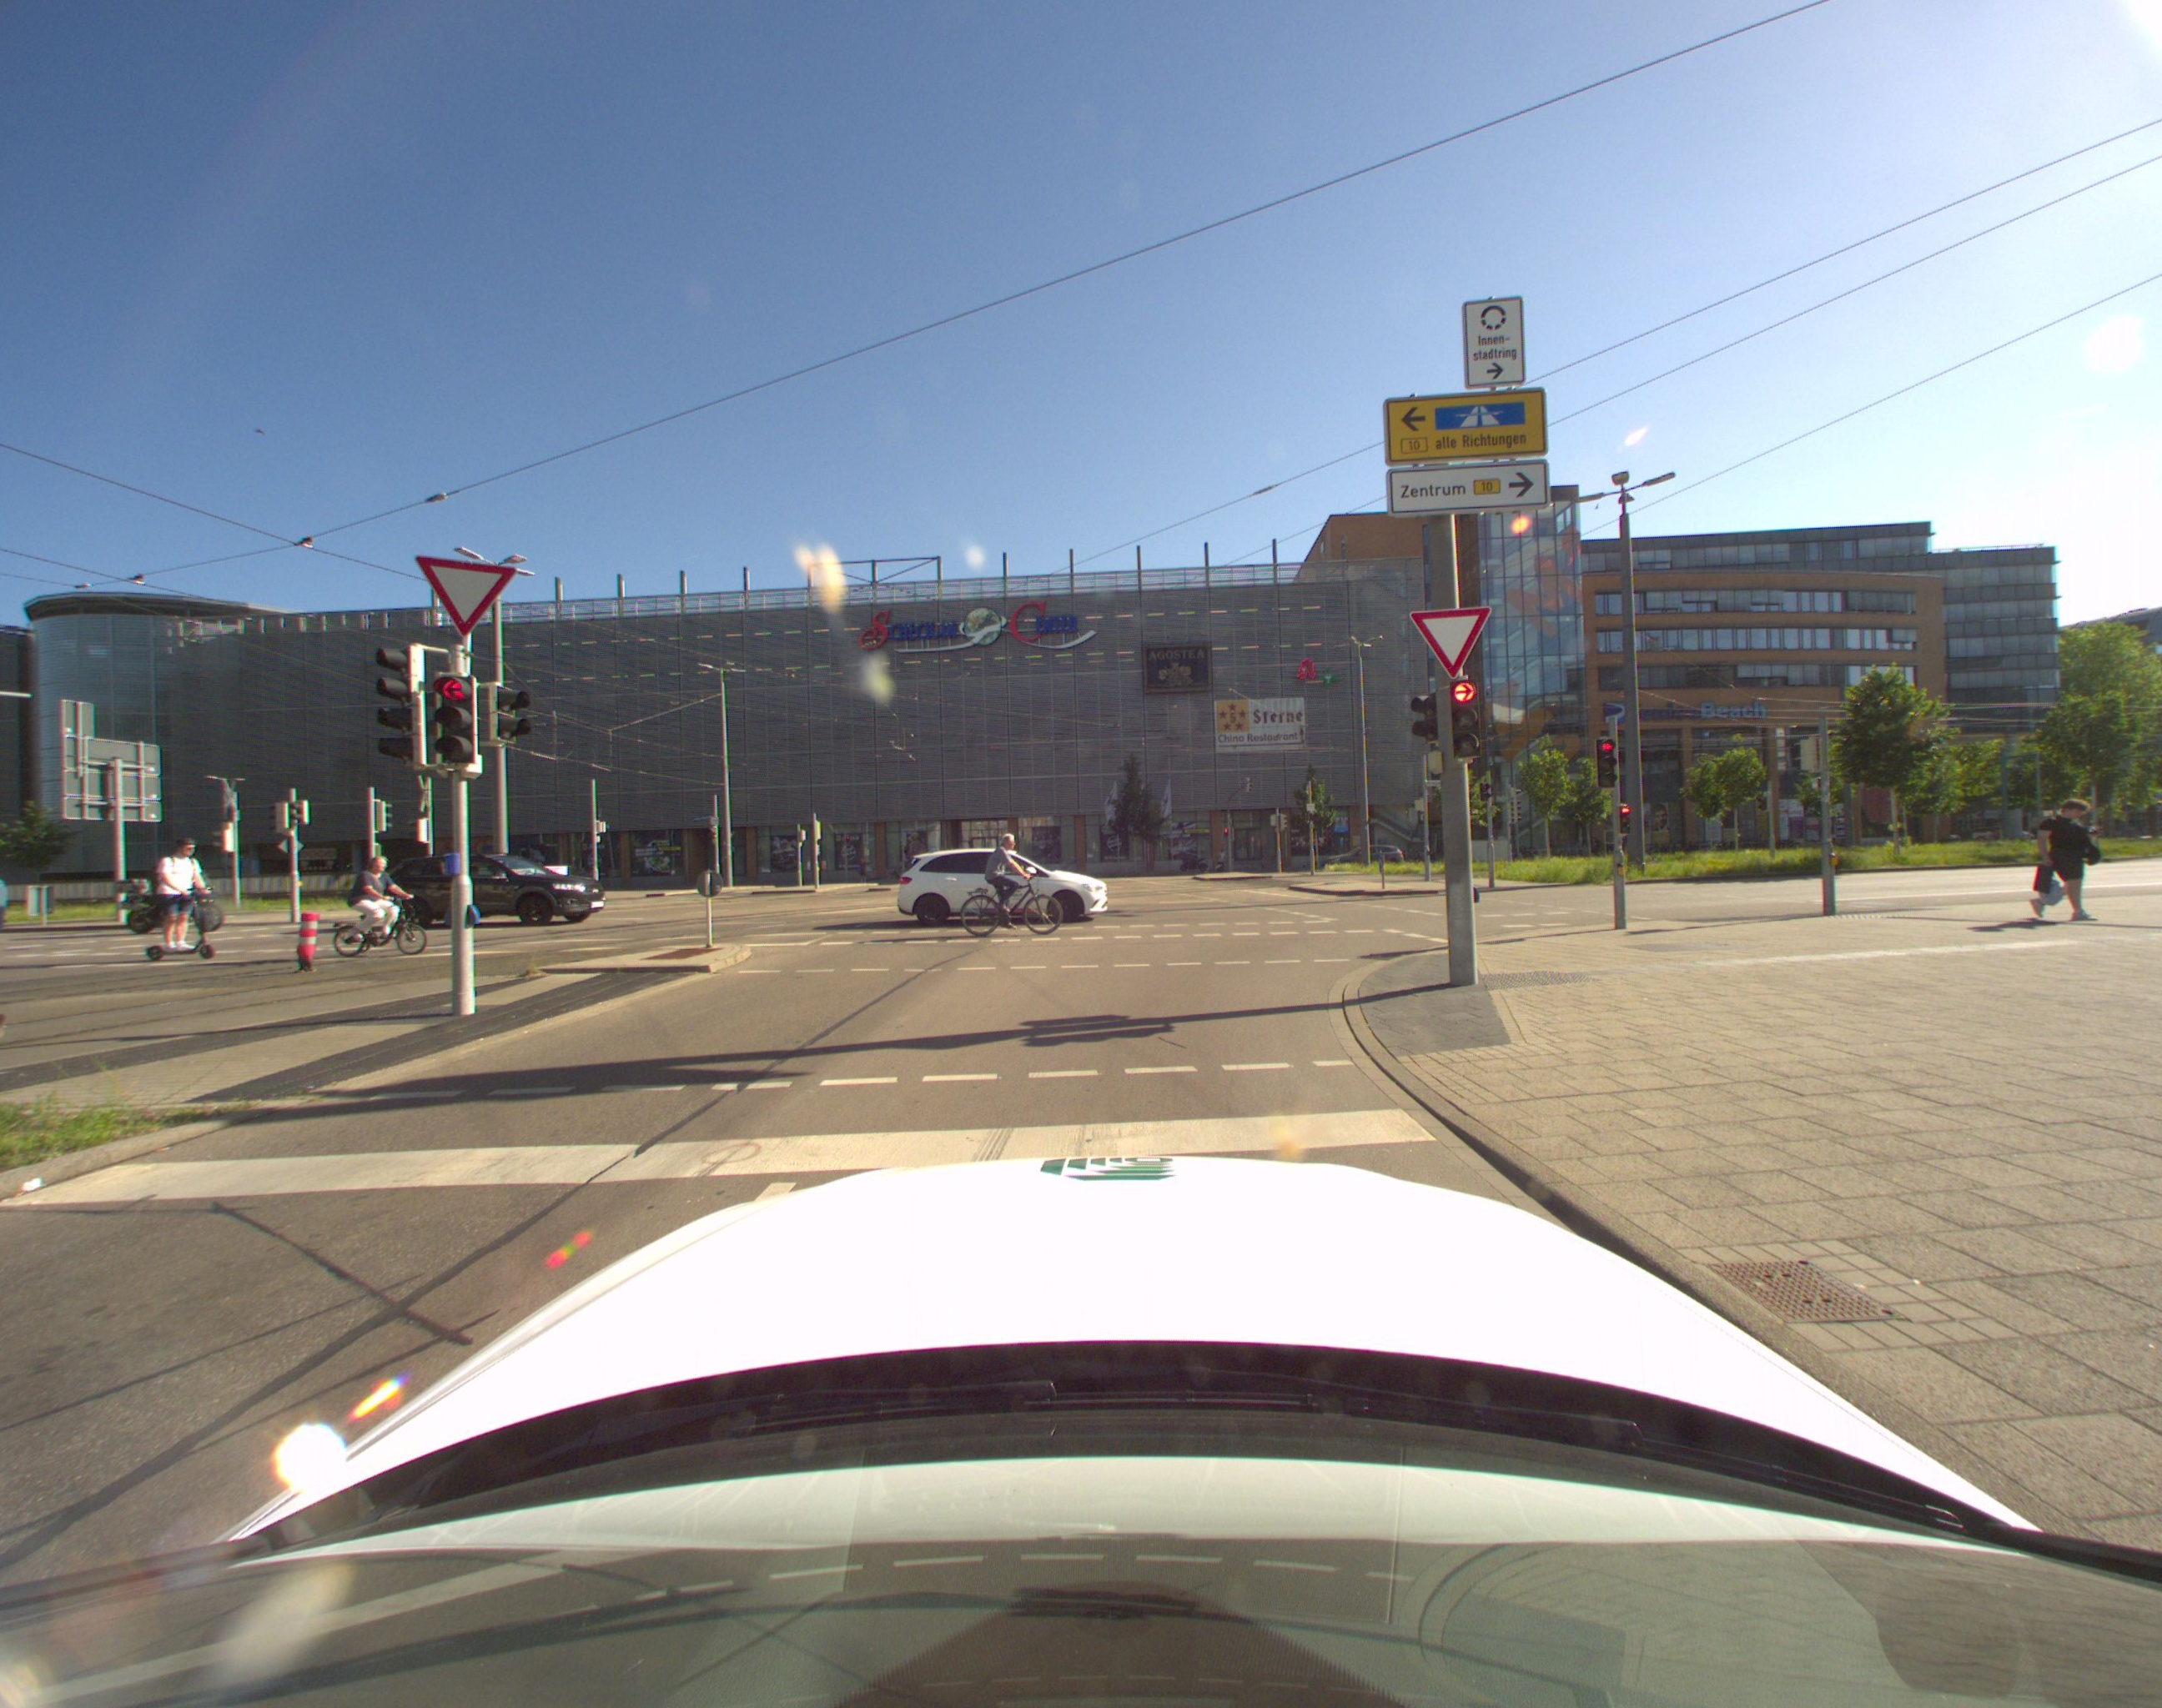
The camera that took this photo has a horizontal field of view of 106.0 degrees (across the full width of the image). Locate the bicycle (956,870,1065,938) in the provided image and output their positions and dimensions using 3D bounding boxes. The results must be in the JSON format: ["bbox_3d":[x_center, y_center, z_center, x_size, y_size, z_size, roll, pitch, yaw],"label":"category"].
[{"bbox_3d":[-1.234,0.880,14.546,1.822,1.116,0.854,-2,0,2],"label":"bicycle"}]

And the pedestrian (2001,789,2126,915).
[{"bbox_3d":[13.938,-0.023,11.576,0.803,1.708,0.762,-2,0,1],"label":"pedestrian"}]

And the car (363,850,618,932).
[{"bbox_3d":[-13.933,0.830,19.440,4.623,1.718,1.838,-1,1,-3],"label":"car"}]

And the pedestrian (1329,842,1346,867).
[{"bbox_3d":[18.240,0.027,57.923,0.852,1.738,0.752,-2,0,-5],"label":"pedestrian"}]

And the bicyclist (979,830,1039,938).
[{"bbox_3d":[-1.276,0.521,14.561,0.898,1.859,0.855,-2,0,2],"label":"bicyclist"}]

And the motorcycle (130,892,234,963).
[{"bbox_3d":[-15.062,1.223,13.656,1.182,1.121,0.483,-2,0,1],"label":"motorcycle"}]

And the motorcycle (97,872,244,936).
[{"bbox_3d":[-21.445,1.165,19.220,2.435,1.419,0.915,-1,0,0],"label":"motorcycle"}]

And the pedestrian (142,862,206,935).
[{"bbox_3d":[-21.406,1.032,19.226,0.741,1.677,0.665,-1,0,1],"label":"pedestrian"}]

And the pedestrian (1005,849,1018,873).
[{"bbox_3d":[-5.203,0.502,60.741,0.845,1.763,0.620,-2,0,1],"label":"pedestrian"}]

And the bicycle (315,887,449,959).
[{"bbox_3d":[-11.709,1.137,13.671,1.571,1.107,0.734,-2,0,-1],"label":"bicycle"}]

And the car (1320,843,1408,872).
[{"bbox_3d":[15.960,0.191,46.060,4.470,1.495,1.495,-2,0,1],"label":"car"}]

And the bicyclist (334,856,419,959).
[{"bbox_3d":[-11.739,0.869,13.594,0.780,1.648,0.690,-2,0,-1],"label":"bicyclist"}]

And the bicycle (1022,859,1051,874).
[{"bbox_3d":[-3.333,0.951,61.407,2.019,1.059,1.145,-2,0,1],"label":"bicycle"}]

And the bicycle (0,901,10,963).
[{"bbox_3d":[-19.159,1.316,13.460,1.920,1.036,0.694,0,0,-2],"label":"bicycle"}]

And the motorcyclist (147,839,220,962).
[{"bbox_3d":[-15.047,0.763,13.659,0.625,2.013,0.498,-2,0,2],"label":"motorcyclist"}]

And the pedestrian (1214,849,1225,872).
[{"bbox_3d":[9.414,0.453,55.258,0.587,1.535,0.658,-2,0,1],"label":"pedestrian"}]

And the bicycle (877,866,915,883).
[{"bbox_3d":[-12.654,1.384,55.707,2.256,1.070,1.034,-2,0,-39],"label":"bicycle"}]

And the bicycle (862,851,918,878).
[{"bbox_3d":[-14.691,0.812,62.656,3.971,2.013,1.331,-1,0,2],"label":"bicycle"}]

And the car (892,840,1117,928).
[{"bbox_3d":[-1.561,0.583,17.309,4.478,1.635,1.837,-2,1,-3],"label":"car"}]

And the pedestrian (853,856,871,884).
[{"bbox_3d":[-15.106,1.091,56.149,0.894,1.868,0.826,-2,0,44],"label":"pedestrian"}]

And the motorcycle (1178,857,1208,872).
[{"bbox_3d":[8.423,0.808,61.376,2.194,1.042,1.062,-1,0,2],"label":"motorcycle"}]

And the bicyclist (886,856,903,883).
[{"bbox_3d":[-12.755,1.083,55.713,0.849,1.803,0.806,-1,0,-40],"label":"bicyclist"}]

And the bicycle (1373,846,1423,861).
[{"bbox_3d":[23.859,-0.063,61.405,3.342,1.077,1.119,-1,0,7],"label":"bicycle"}]

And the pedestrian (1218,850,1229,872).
[{"bbox_3d":[9.824,0.471,56.123,0.587,1.462,0.658,-2,0,1],"label":"pedestrian"}]

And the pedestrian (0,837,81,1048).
[{"bbox_3d":[-9.193,0.730,6.751,0.882,1.707,0.713,-2,0,1],"label":"pedestrian"}]
